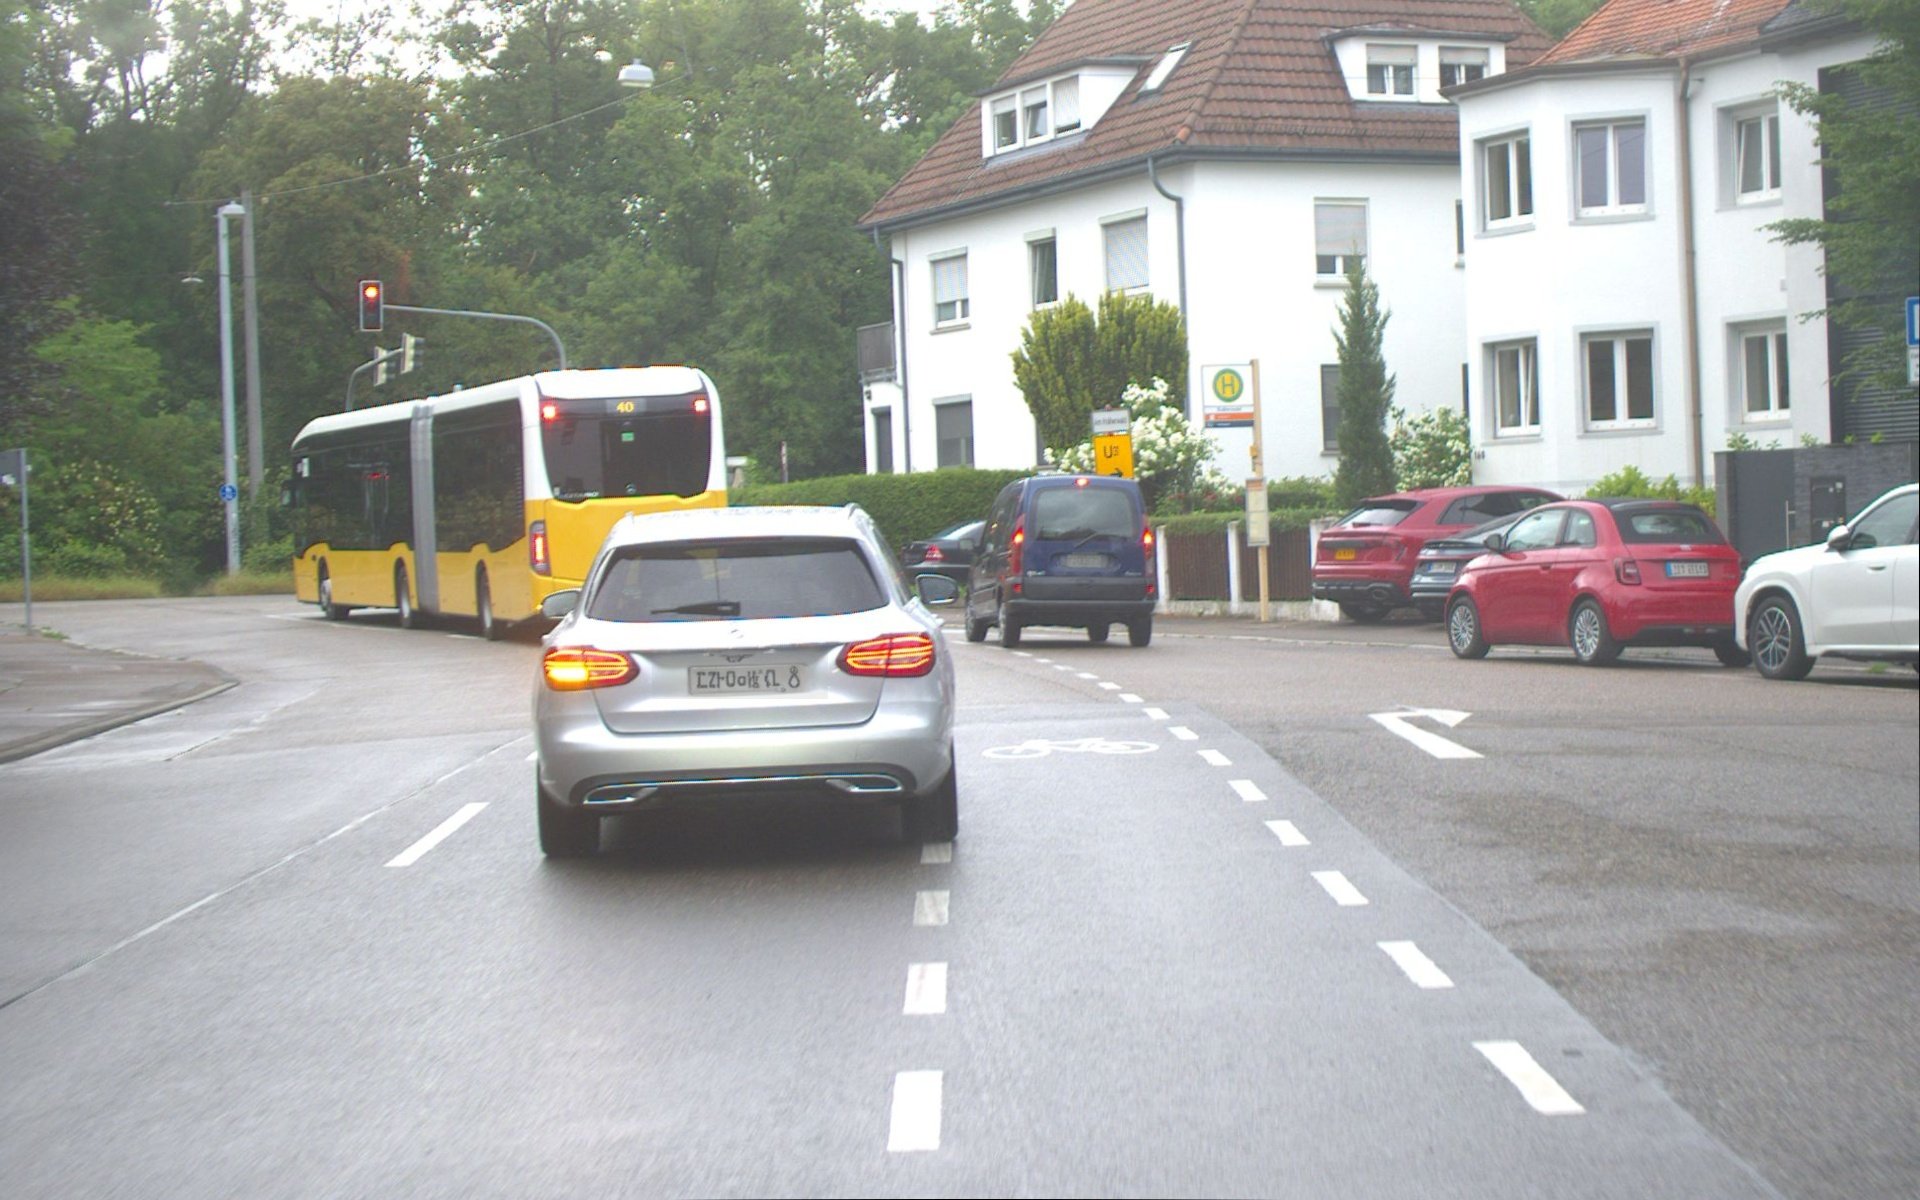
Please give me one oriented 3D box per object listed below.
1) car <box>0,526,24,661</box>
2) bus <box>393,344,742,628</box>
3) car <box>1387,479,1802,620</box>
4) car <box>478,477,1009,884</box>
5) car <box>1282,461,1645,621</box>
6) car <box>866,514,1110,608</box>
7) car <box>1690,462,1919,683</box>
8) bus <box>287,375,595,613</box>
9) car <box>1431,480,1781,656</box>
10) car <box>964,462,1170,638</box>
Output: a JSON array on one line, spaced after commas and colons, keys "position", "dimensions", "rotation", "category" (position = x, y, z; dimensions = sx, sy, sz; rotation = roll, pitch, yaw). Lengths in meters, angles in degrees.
[{"position": [-12.488, -0.044, 36.885], "dimensions": [1.801, 1.490, 4.674], "rotation": [1, 2, 34], "category": "car"}, {"position": [-5.439, -1.503, 46.064], "dimensions": [2.676, 3.386, 8.683], "rotation": [-2, 2, -19], "category": "bus"}, {"position": [7.543, -0.627, 40.803], "dimensions": [4.547, 1.411, 2.000], "rotation": [-4, 3, -28], "category": "car"}, {"position": [-0.956, 0.229, 15.506], "dimensions": [1.993, 1.474, 4.487], "rotation": [-2, 2, -3], "category": "car"}, {"position": [6.282, -0.763, 42.826], "dimensions": [4.073, 1.744, 2.000], "rotation": [-4, 3, -31], "category": "car"}, {"position": [0.471, -0.676, 57.882], "dimensions": [3.742, 1.383, 1.617], "rotation": [-3, 4, -23], "category": "car"}, {"position": [7.798, -0.231, 26.873], "dimensions": [1.744, 1.667, 4.649], "rotation": [-1, 2, -23], "category": "car"}, {"position": [-8.396, -1.665, 54.521], "dimensions": [2.899, 3.386, 9.043], "rotation": [-2, 2, -20], "category": "bus"}, {"position": [5.916, -0.325, 31.888], "dimensions": [1.611, 1.532, 3.542], "rotation": [-1, 2, -20], "category": "car"}, {"position": [1.120, -0.551, 37.913], "dimensions": [1.808, 1.791, 4.001], "rotation": [-2, 1, -4], "category": "car"}]
